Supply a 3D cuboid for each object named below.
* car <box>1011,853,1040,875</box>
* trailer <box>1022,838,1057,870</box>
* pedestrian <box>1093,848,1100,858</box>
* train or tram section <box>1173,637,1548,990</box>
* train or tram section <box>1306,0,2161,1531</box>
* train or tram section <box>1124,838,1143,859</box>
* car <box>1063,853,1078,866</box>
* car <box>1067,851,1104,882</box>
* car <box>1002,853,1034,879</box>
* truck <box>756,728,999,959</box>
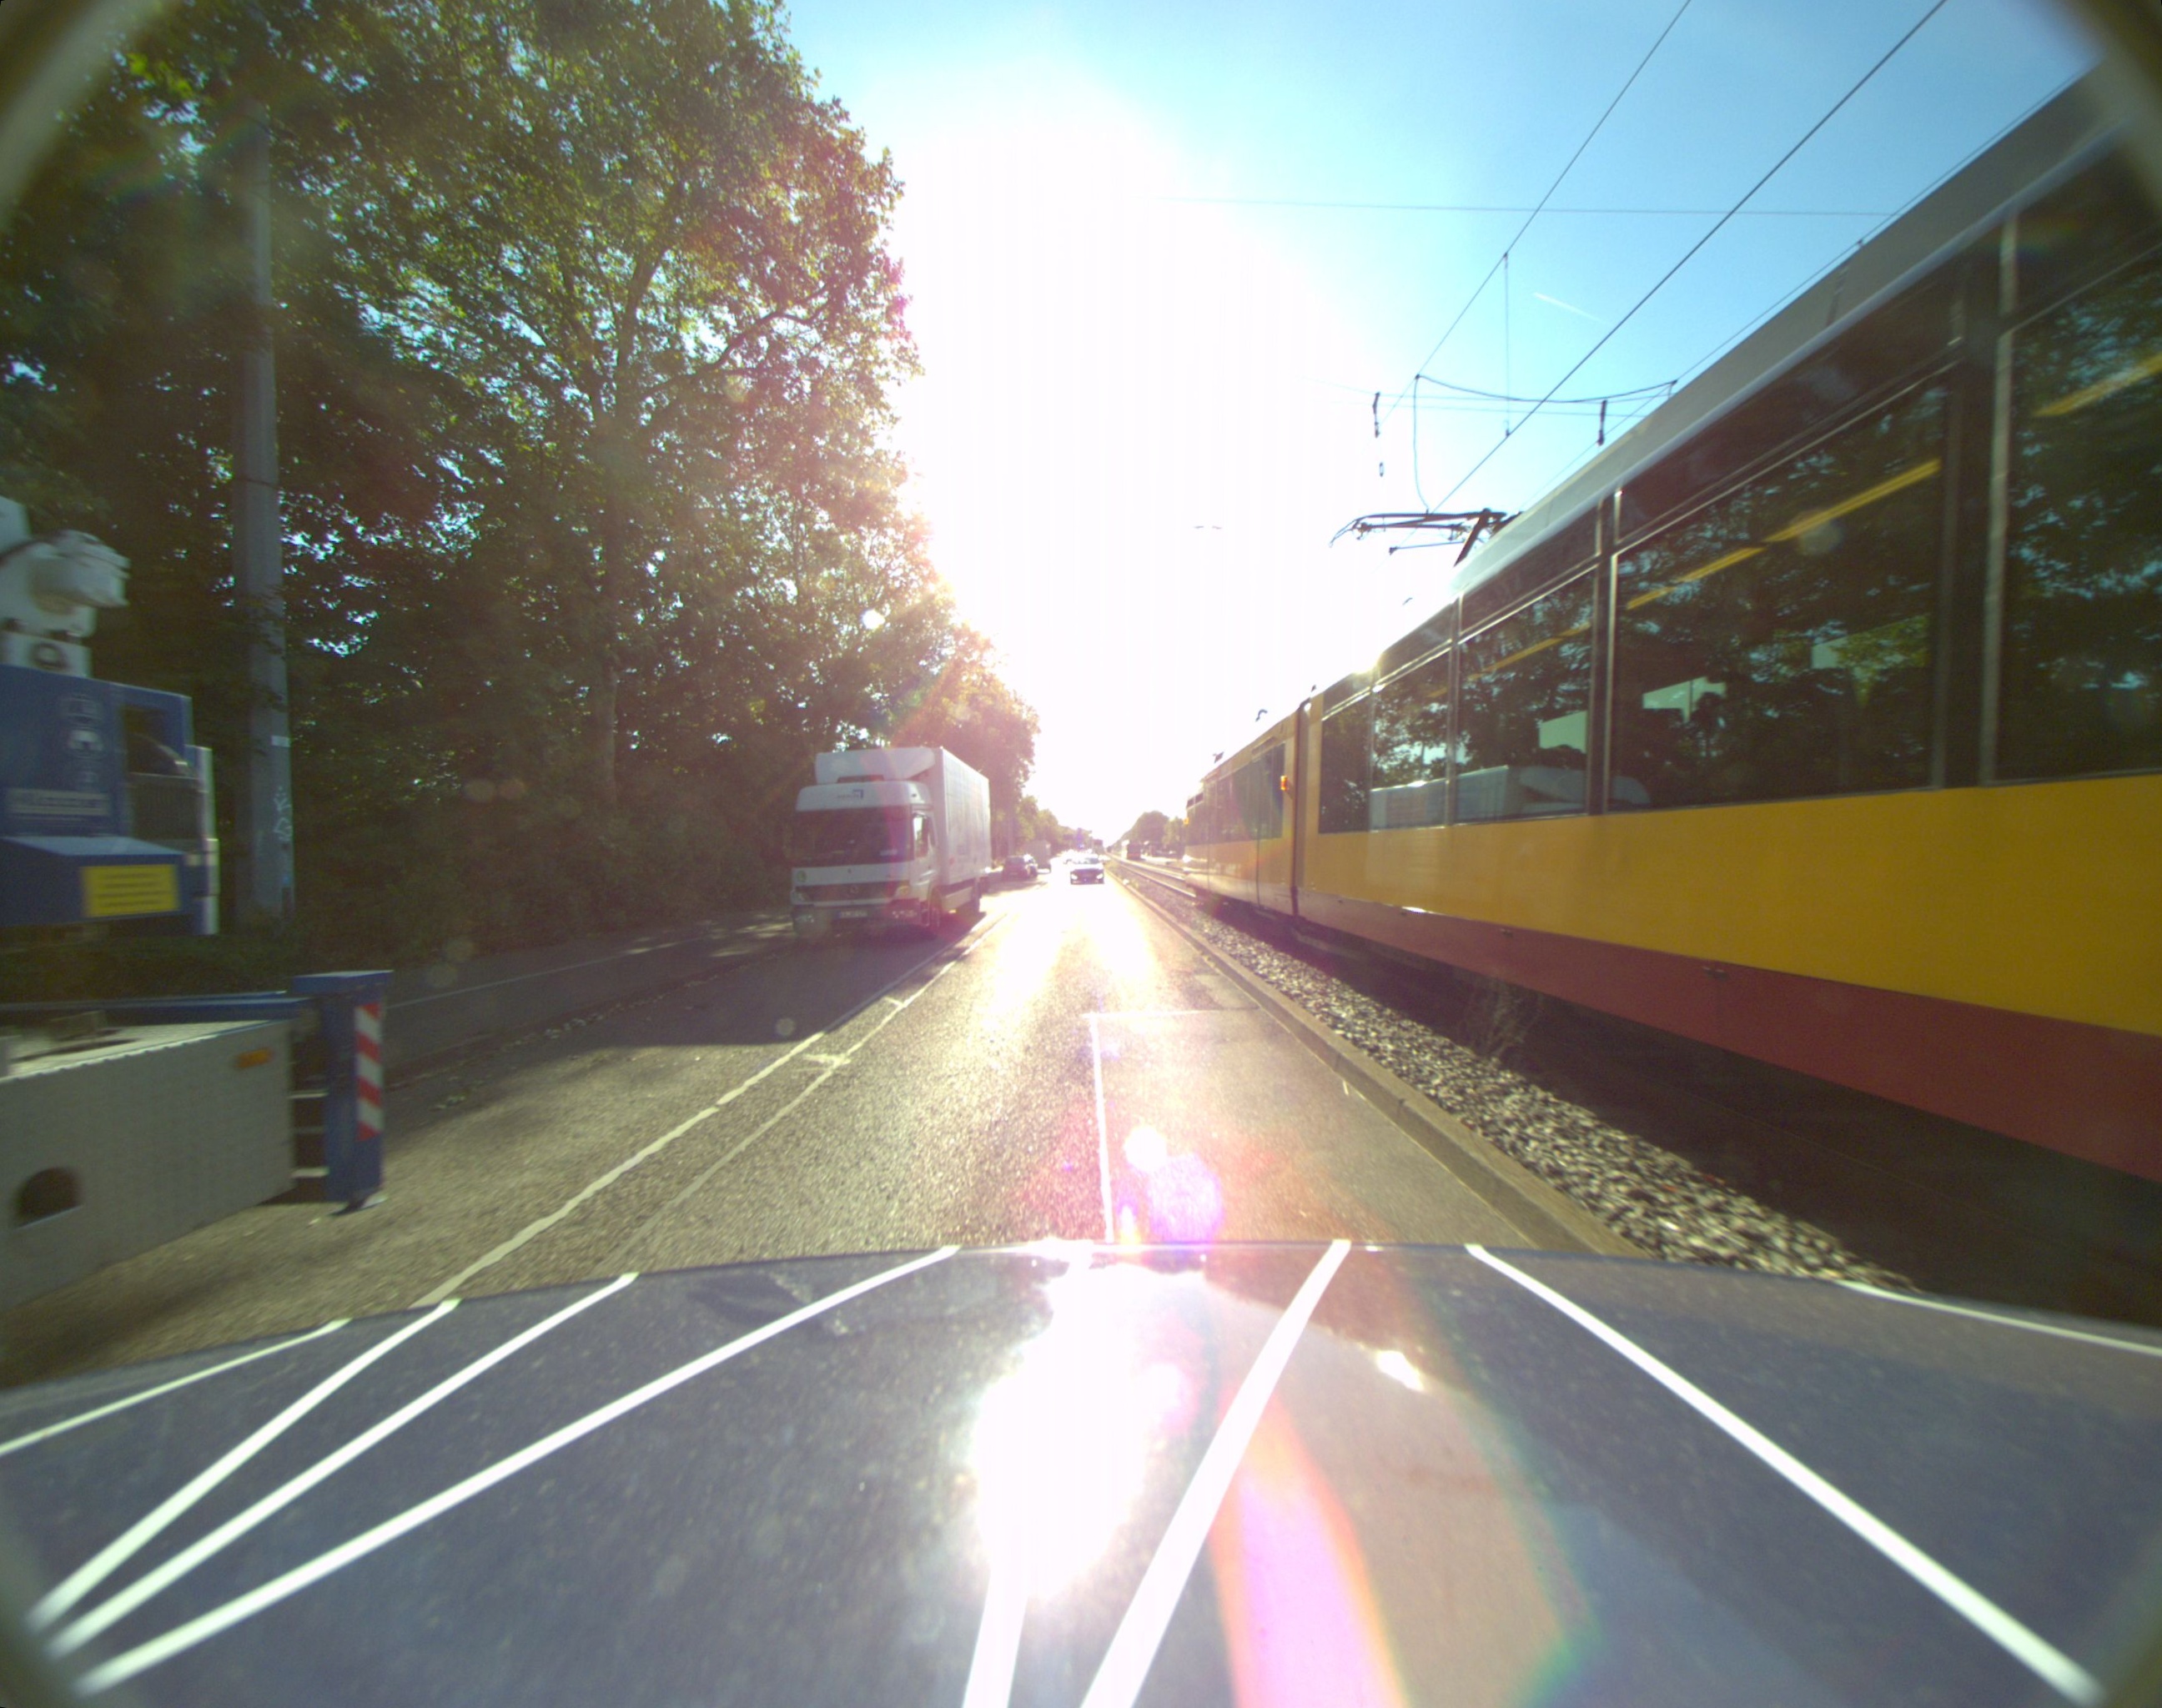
[{"bbox_3d":[-3.920,0.676,54.352,1.813,1.448,4.165,-2,0,-1],"label":"car"},{"bbox_3d":[-3.572,-0.011,66.343,2.256,2.679,5.948,-1,1,4],"label":"trailer"},{"bbox_3d":[2.381,-0.081,115.291,0.760,1.485,0.696,-1,1,34],"label":"pedestrian"},{"bbox_3d":[4.055,-0.503,15.606,2.728,4.067,13.614,0,0,0],"label":"train or tram section"},{"bbox_3d":[3.933,-0.446,3.914,2.701,4.065,9.910,0,0,1],"label":"train or tram section"},{"bbox_3d":[9.505,-1.013,138.069,2.834,3.665,12.968,-2,1,2],"label":"train or tram section"},{"bbox_3d":[-1.377,0.695,99.661,1.784,1.586,4.000,-1,0,1],"label":"car"},{"bbox_3d":[0.287,0.628,39.955,1.786,1.530,4.000,0,1,2],"label":"car"},{"bbox_3d":[-4.023,0.756,49.111,1.644,1.528,3.640,-3,0,1],"label":"car"},{"bbox_3d":[-3.953,-0.204,17.777,2.749,3.761,10.088,-2,0,0],"label":"truck"}]
